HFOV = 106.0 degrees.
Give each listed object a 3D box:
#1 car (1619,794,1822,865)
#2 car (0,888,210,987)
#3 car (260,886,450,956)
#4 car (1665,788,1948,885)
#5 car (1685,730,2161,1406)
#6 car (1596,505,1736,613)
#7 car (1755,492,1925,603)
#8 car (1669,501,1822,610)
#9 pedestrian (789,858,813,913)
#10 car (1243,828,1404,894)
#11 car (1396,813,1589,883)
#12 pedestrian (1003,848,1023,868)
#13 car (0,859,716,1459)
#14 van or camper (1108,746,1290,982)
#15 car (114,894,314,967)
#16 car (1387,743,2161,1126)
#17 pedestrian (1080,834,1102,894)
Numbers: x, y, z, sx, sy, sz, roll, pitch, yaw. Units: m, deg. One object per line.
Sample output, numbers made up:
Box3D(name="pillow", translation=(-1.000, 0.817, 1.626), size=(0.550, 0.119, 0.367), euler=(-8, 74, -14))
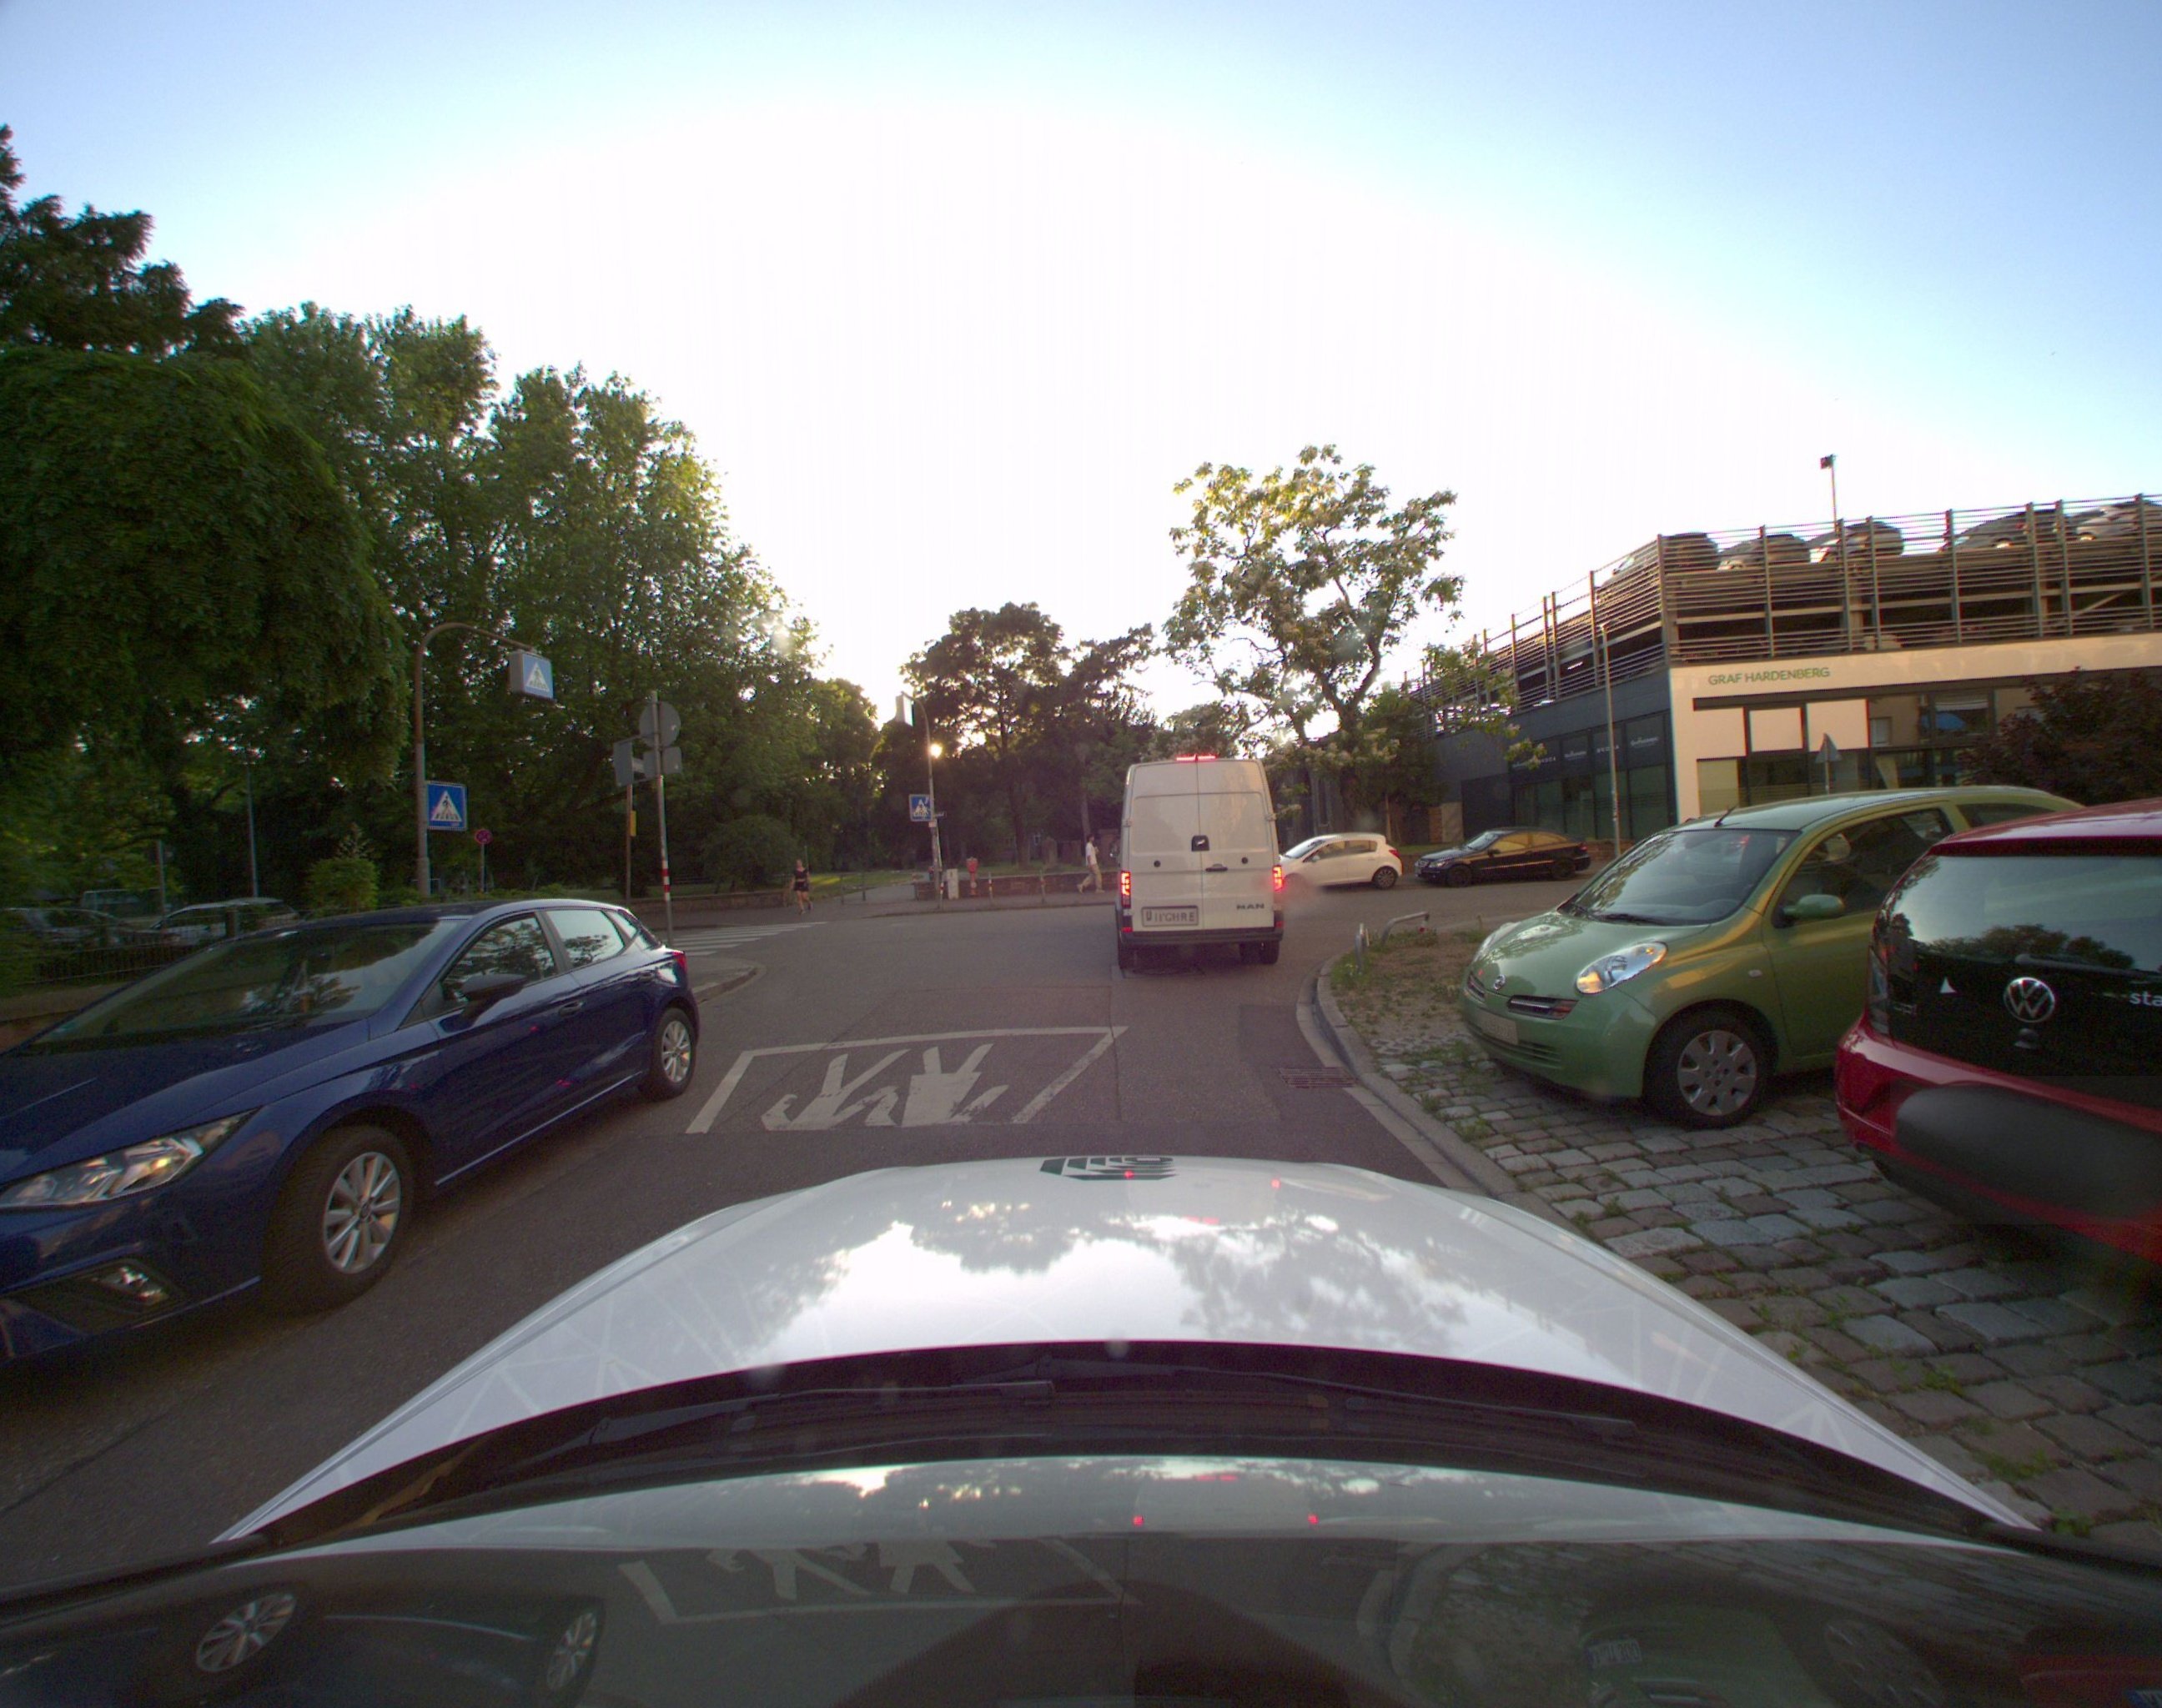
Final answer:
Box3D(name="car", translation=(16.836, -0.624, 21.607), size=(3.819, 1.503, 1.826), euler=(-4, 0, 4))
Box3D(name="car", translation=(-21.473, 1.784, 17.212), size=(4.212, 1.799, 1.824), euler=(-4, -3, 2))
Box3D(name="car", translation=(-20.952, 1.908, 23.605), size=(3.832, 1.491, 1.828), euler=(-4, 6, 7))
Box3D(name="car", translation=(14.260, -0.336, 16.208), size=(3.819, 1.523, 1.826), euler=(-4, 0, 4))
Box3D(name="car", translation=(4.763, 0.271, 2.418), size=(4.386, 1.631, 1.847), euler=(-7, 0, 2))
Box3D(name="car", translation=(19.224, -9.655, 26.989), size=(1.984, 2.013, 4.007), euler=(-2, 0, 6))
Box3D(name="car", translation=(24.512, -9.846, 26.541), size=(1.984, 2.013, 4.007), euler=(-2, 0, 6))
Box3D(name="car", translation=(21.788, -9.735, 26.947), size=(1.984, 2.013, 4.007), euler=(-2, 0, 6))
Box3D(name="pedestrian", translation=(-8.599, 0.963, 25.004), size=(0.649, 1.648, 0.669), euler=(-2, 0, -21))
Box3D(name="car", translation=(6.642, 0.168, 22.611), size=(3.844, 1.574, 1.957), euler=(-3, 0, -2))
Box3D(name="car", translation=(11.099, -0.166, 22.212), size=(4.273, 1.503, 1.826), euler=(-4, 0, 4))
Box3D(name="pedestrian", translation=(-5.178, 0.328, 62.115), size=(1.324, 1.444, 1.046), euler=(-3, 0, -1))
Box3D(name="car", translation=(-3.540, 0.893, 4.077), size=(1.729, 1.567, 3.787), euler=(-5, 0, -3))
Box3D(name="van or camper", translation=(1.575, 0.097, 12.418), size=(1.984, 2.618, 6.411), euler=(-2, 0, 4))
Box3D(name="car", translation=(-25.656, 2.234, 24.189), size=(3.852, 1.562, 1.826), euler=(-4, 6, 3))
Box3D(name="car", translation=(4.462, 0.360, 4.977), size=(4.392, 1.631, 1.844), euler=(-5, -2, -2))
Box3D(name="pedestrian", translation=(0.314, 0.291, 25.088), size=(0.591, 1.809, 0.621), euler=(-2, 0, 2))
